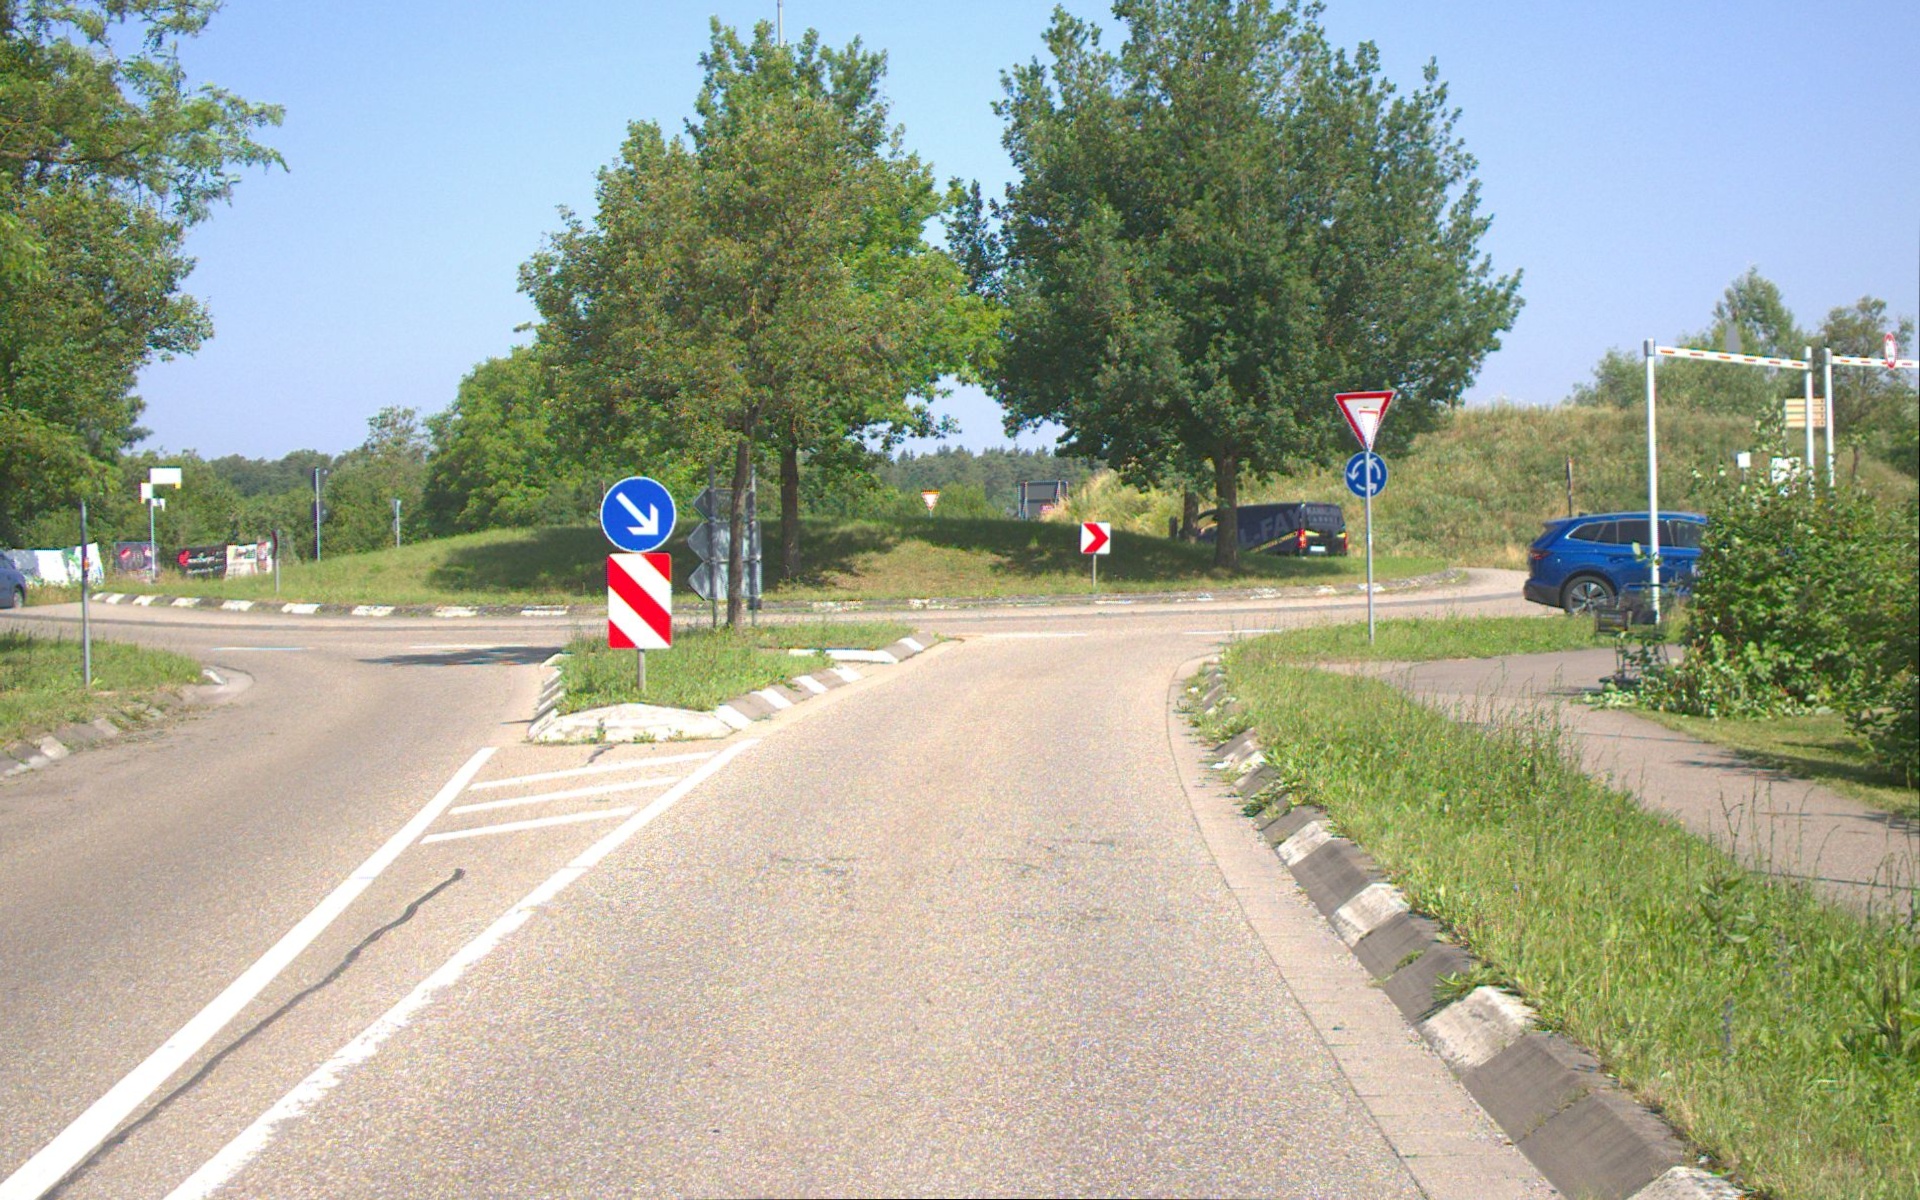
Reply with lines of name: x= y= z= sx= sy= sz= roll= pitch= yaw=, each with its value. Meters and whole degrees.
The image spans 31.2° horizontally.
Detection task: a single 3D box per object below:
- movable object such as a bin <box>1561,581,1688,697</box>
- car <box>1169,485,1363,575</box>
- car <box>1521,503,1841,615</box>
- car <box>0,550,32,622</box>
movable object such as a bin: x=6.719 y=0.381 z=34.726 sx=0.869 sy=1.116 sz=1.453 roll=0 pitch=1 yaw=28
car: x=7.077 y=-1.613 z=79.558 sx=3.995 sy=2.007 sz=1.996 roll=0 pitch=2 yaw=36
car: x=10.426 y=-0.591 z=49.659 sx=4.416 sy=1.566 sz=1.715 roll=0 pitch=1 yaw=15
car: x=-19.806 y=-0.214 z=67.377 sx=1.833 sy=1.382 sz=4.424 roll=-2 pitch=2 yaw=3
